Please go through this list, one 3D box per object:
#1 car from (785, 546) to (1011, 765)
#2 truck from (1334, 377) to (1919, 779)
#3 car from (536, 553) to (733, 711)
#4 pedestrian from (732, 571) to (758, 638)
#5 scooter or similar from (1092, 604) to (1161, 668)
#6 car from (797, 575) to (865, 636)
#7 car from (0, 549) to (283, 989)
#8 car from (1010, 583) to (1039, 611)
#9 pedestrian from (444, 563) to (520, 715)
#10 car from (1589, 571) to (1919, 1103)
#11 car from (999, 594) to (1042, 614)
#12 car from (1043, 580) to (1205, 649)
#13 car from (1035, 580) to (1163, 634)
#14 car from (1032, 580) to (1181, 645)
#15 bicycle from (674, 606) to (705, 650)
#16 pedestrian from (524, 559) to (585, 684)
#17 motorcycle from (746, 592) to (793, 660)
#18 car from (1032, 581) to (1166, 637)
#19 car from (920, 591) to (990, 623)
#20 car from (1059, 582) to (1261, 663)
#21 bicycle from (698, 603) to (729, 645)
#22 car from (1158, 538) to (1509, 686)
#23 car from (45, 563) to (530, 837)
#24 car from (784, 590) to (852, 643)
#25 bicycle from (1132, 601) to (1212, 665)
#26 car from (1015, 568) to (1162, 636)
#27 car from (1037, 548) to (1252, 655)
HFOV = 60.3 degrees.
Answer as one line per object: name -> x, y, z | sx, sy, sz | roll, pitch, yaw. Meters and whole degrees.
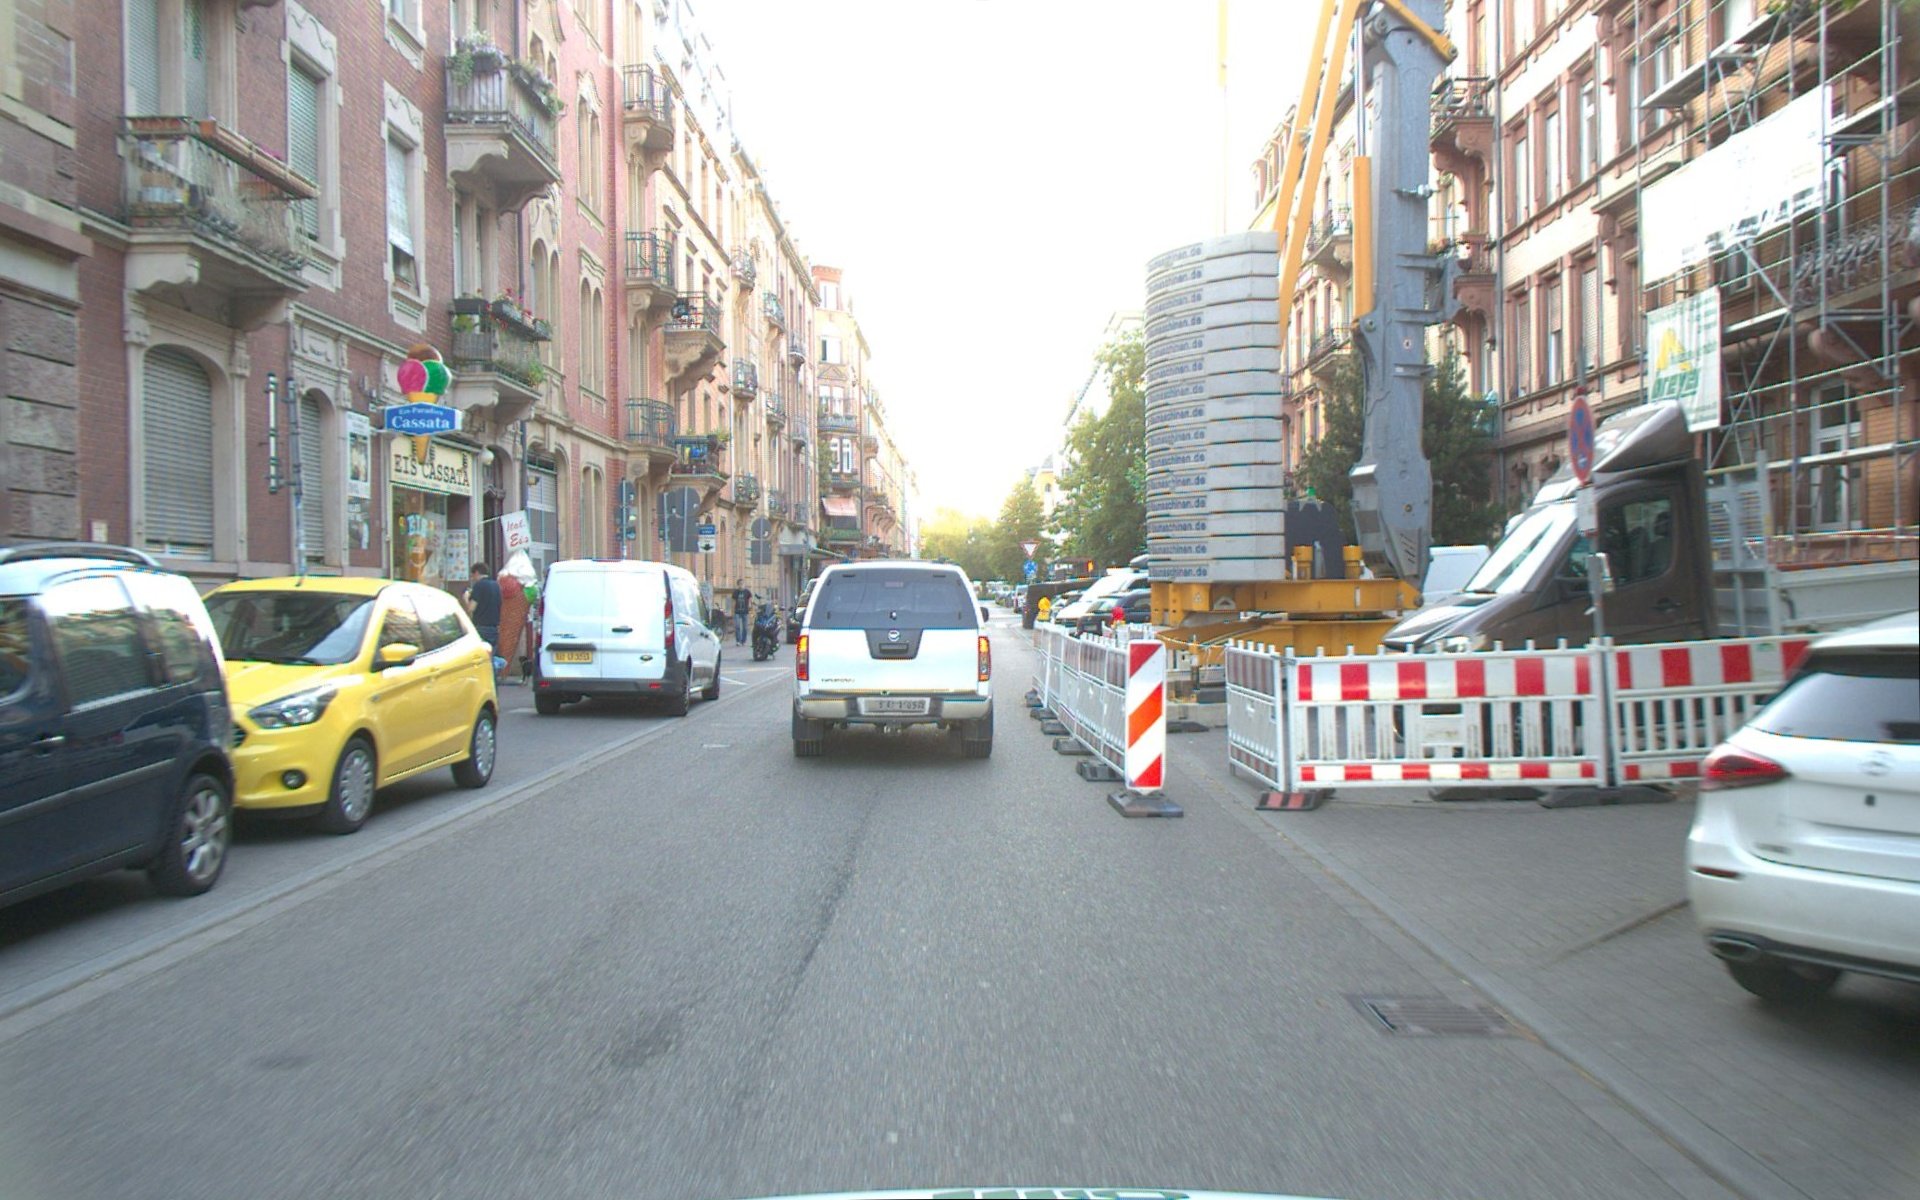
car -> -0.691, 0.492, 16.534 | 1.900, 1.842, 4.996 | 1, 0, -4
truck -> 6.650, -0.169, 14.251 | 6.344, 3.130, 2.525 | 1, -1, 3
car -> -4.089, 0.391, 21.482 | 1.734, 1.820, 4.586 | 0, 0, -1
pedestrian -> -5.967, 0.120, 45.947 | 0.668, 1.842, 0.960 | 1, -1, -5
scooter or similar -> 3.163, 0.667, 31.568 | 0.646, 1.170, 1.473 | -3, 1, -23
car -> -4.274, 0.173, 55.550 | 1.799, 1.955, 4.846 | 0, 0, 1
car -> -4.480, 0.627, 6.519 | 1.887, 1.624, 3.970 | 0, 0, 2
car -> 4.753, -0.198, 121.826 | 1.903, 1.967, 3.999 | 1, 0, 0
pedestrian -> -5.679, 0.454, 19.654 | 0.607, 1.760, 0.584 | 0, -1, 28
car -> 4.297, 0.637, 6.169 | 3.948, 1.514, 1.665 | -3, 1, -34
car -> 5.588, 0.344, 153.157 | 3.906, 1.780, 1.840 | 1, -1, -1
car -> 4.519, 0.368, 45.540 | 4.111, 1.618, 1.866 | -4, 2, -31
car -> 4.776, 0.227, 56.735 | 4.056, 1.578, 1.799 | -4, 1, -32
car -> 4.305, 0.350, 48.461 | 4.055, 1.618, 1.800 | -4, 1, -31
bicycle -> -6.629, 0.682, 40.594 | 0.438, 1.048, 1.741 | 1, 0, 1
pedestrian -> -6.133, 0.320, 25.035 | 0.585, 1.846, 0.721 | 0, -1, 18
motorcycle -> -4.152, 0.562, 36.166 | 0.670, 1.429, 2.015 | 1, 0, 3
car -> 4.562, 0.284, 54.056 | 4.056, 1.578, 1.799 | -4, 1, -32
car -> -0.275, 0.400, 94.782 | 3.680, 1.758, 1.772 | 1, -1, 11
car -> 4.170, 0.437, 34.447 | 3.807, 1.542, 1.833 | -2, 1, -26
bicycle -> -6.741, 0.649, 45.363 | 0.735, 1.120, 2.023 | 1, 0, -6
car -> 5.841, 0.161, 26.268 | 5.068, 1.989, 1.899 | -3, 1, -1
car -> -4.334, 0.563, 11.333 | 1.670, 1.557, 3.793 | 0, 0, 2
car -> -4.230, 0.471, 49.776 | 1.800, 1.496, 4.171 | 0, 0, -2
bicycle -> 4.041, 0.613, 31.661 | 0.490, 1.156, 1.795 | -3, 1, -31
car -> 4.712, 0.052, 60.073 | 5.383, 2.108, 1.907 | -4, 1, -38
car -> 4.473, 0.010, 40.002 | 4.862, 2.403, 1.983 | -2, 0, -26
